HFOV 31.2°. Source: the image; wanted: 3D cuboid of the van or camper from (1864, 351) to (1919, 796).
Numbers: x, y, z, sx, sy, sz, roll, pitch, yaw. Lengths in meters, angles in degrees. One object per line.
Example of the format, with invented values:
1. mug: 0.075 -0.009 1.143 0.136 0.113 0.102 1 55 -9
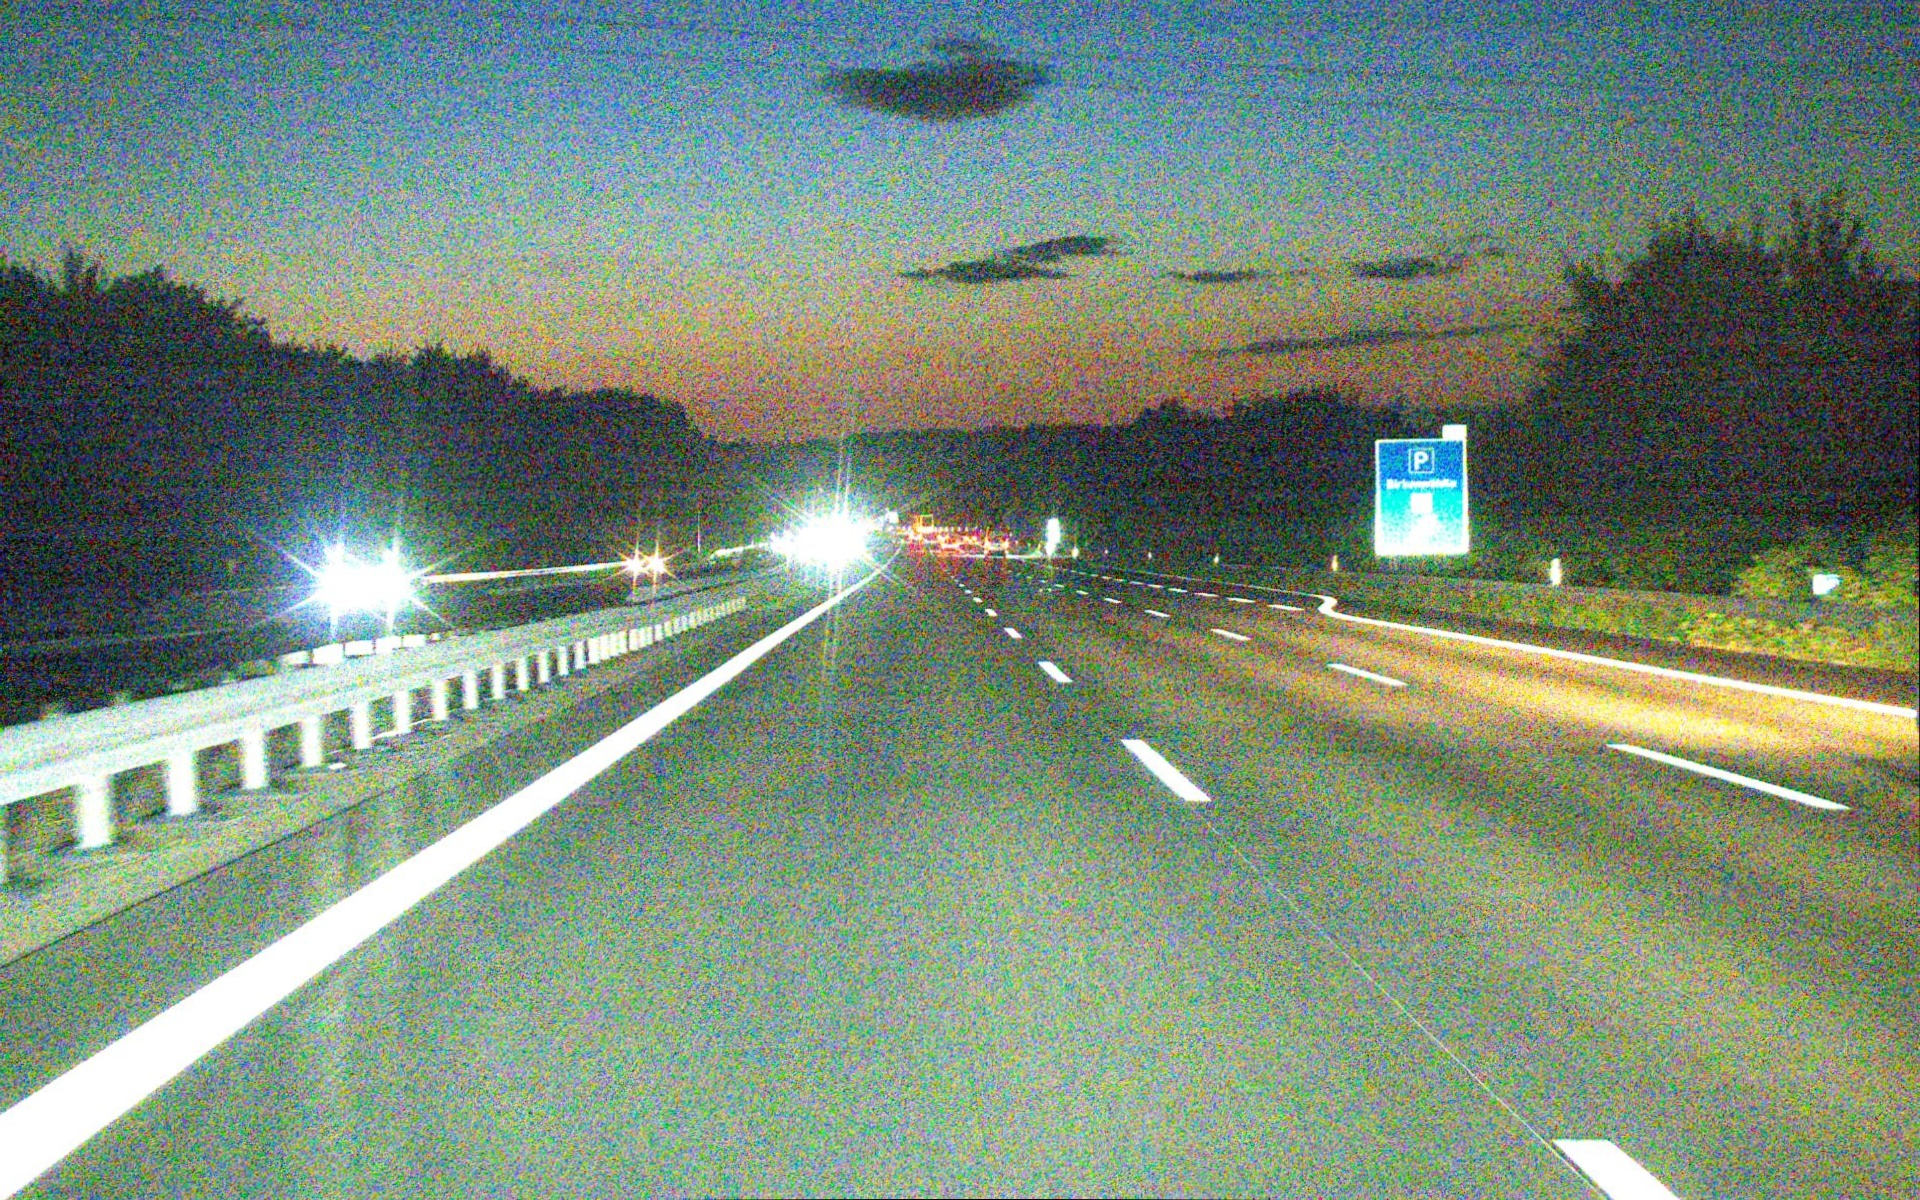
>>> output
1. van or camper: 7.130 -0.105 19.115 2.207 2.762 6.805 1 1 -2

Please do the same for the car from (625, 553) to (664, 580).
1. car: -19.935 -2.122 217.630 1.993 1.546 5.005 -4 1 -1

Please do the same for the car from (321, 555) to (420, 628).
1. car: -14.606 -0.229 85.451 1.993 1.632 5.076 -3 1 -6
